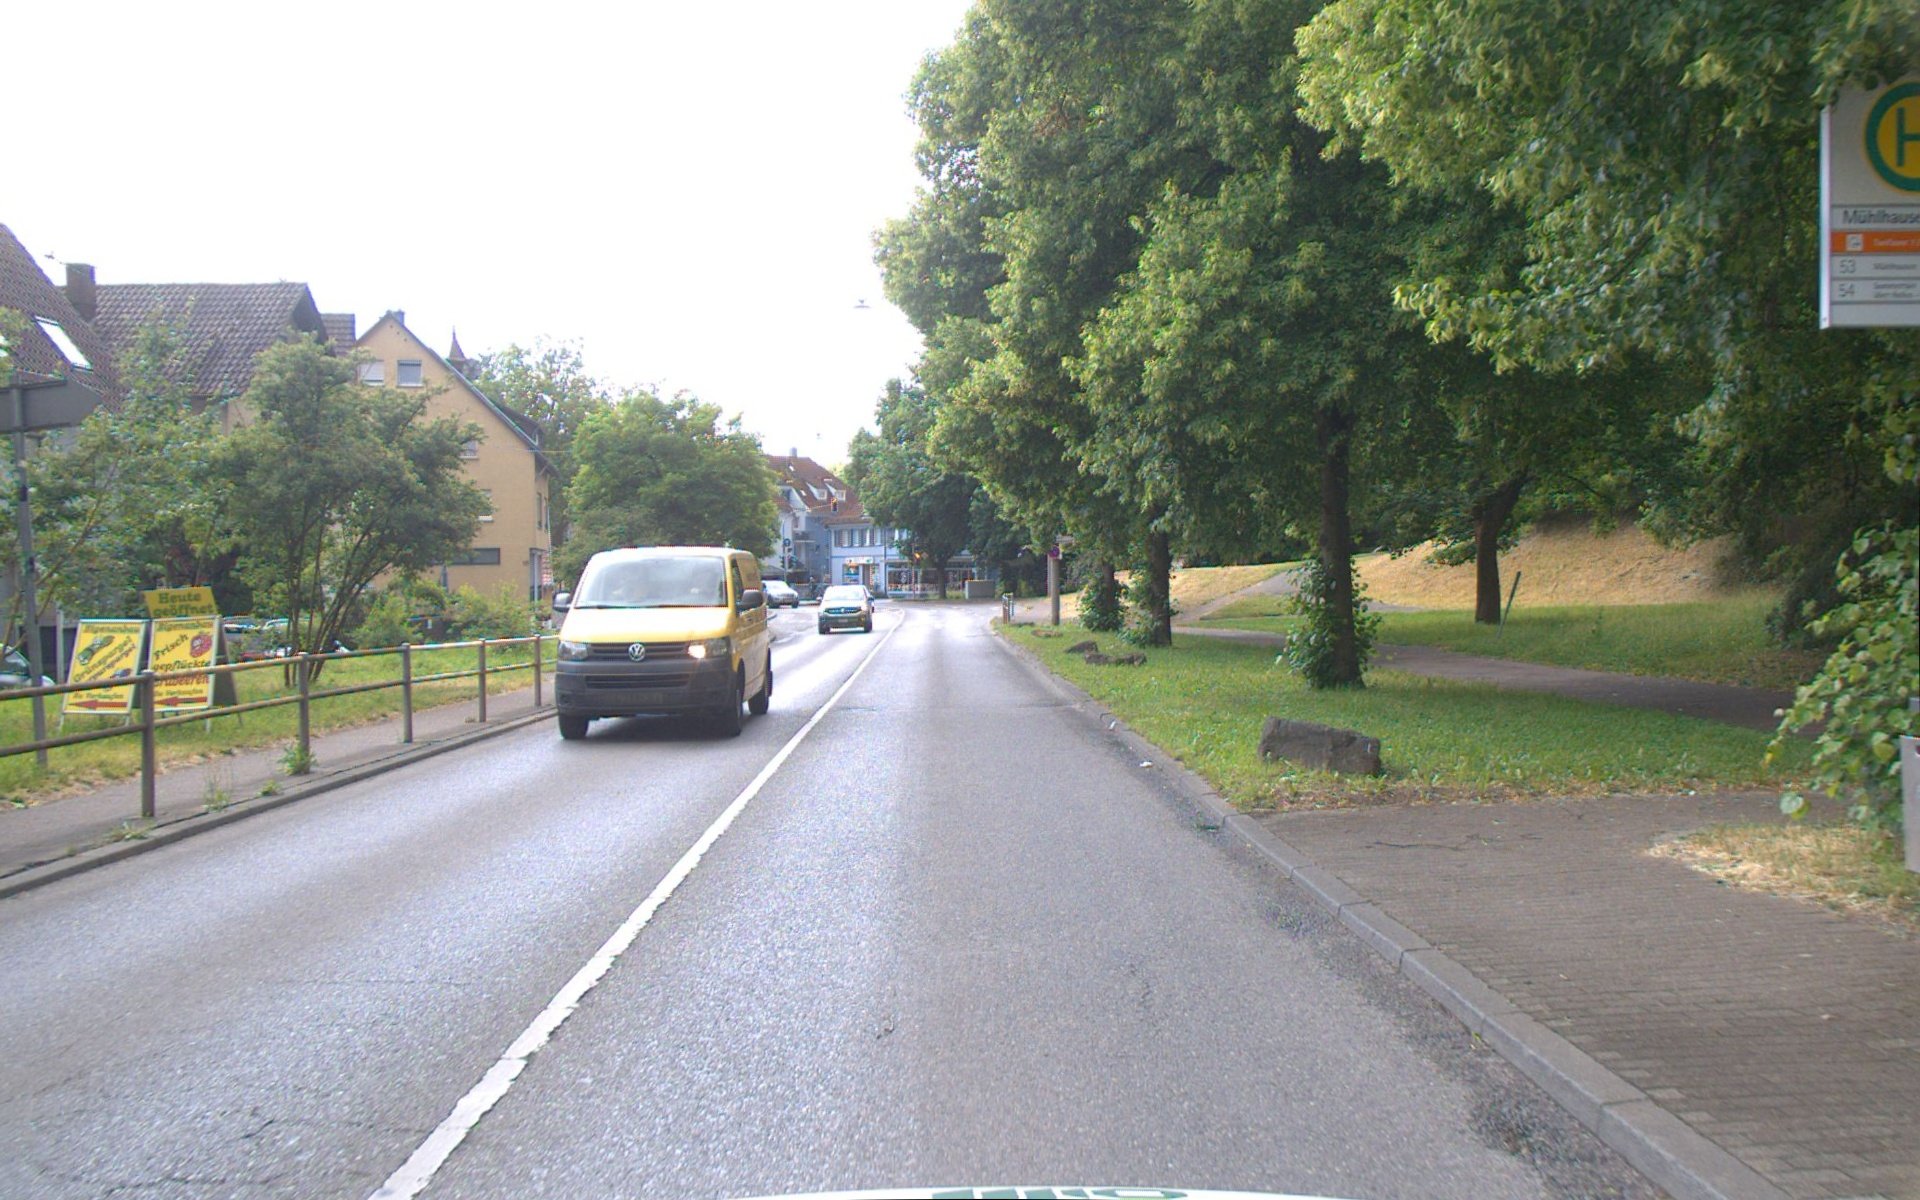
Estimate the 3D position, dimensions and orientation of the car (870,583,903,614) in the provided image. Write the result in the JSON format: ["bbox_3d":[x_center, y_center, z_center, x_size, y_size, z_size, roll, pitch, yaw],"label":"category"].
[{"bbox_3d":[-3.909,-0.097,88.887,1.682,1.494,4.098,-2,1,-2],"label":"car"}]

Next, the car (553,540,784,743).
[{"bbox_3d":[-3.099,0.390,18.540,1.808,1.964,4.768,0,0,-1],"label":"car"}]

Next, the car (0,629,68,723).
[{"bbox_3d":[-14.453,1.135,23.945,1.520,1.300,2.555,-2,0,5],"label":"car"}]

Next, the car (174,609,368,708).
[{"bbox_3d":[-13.631,1.107,33.009,1.880,1.724,4.003,-2,0,5],"label":"car"}]

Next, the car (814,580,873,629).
[{"bbox_3d":[-3.919,0.122,56.146,1.670,1.538,4.000,-2,1,-1],"label":"car"}]
